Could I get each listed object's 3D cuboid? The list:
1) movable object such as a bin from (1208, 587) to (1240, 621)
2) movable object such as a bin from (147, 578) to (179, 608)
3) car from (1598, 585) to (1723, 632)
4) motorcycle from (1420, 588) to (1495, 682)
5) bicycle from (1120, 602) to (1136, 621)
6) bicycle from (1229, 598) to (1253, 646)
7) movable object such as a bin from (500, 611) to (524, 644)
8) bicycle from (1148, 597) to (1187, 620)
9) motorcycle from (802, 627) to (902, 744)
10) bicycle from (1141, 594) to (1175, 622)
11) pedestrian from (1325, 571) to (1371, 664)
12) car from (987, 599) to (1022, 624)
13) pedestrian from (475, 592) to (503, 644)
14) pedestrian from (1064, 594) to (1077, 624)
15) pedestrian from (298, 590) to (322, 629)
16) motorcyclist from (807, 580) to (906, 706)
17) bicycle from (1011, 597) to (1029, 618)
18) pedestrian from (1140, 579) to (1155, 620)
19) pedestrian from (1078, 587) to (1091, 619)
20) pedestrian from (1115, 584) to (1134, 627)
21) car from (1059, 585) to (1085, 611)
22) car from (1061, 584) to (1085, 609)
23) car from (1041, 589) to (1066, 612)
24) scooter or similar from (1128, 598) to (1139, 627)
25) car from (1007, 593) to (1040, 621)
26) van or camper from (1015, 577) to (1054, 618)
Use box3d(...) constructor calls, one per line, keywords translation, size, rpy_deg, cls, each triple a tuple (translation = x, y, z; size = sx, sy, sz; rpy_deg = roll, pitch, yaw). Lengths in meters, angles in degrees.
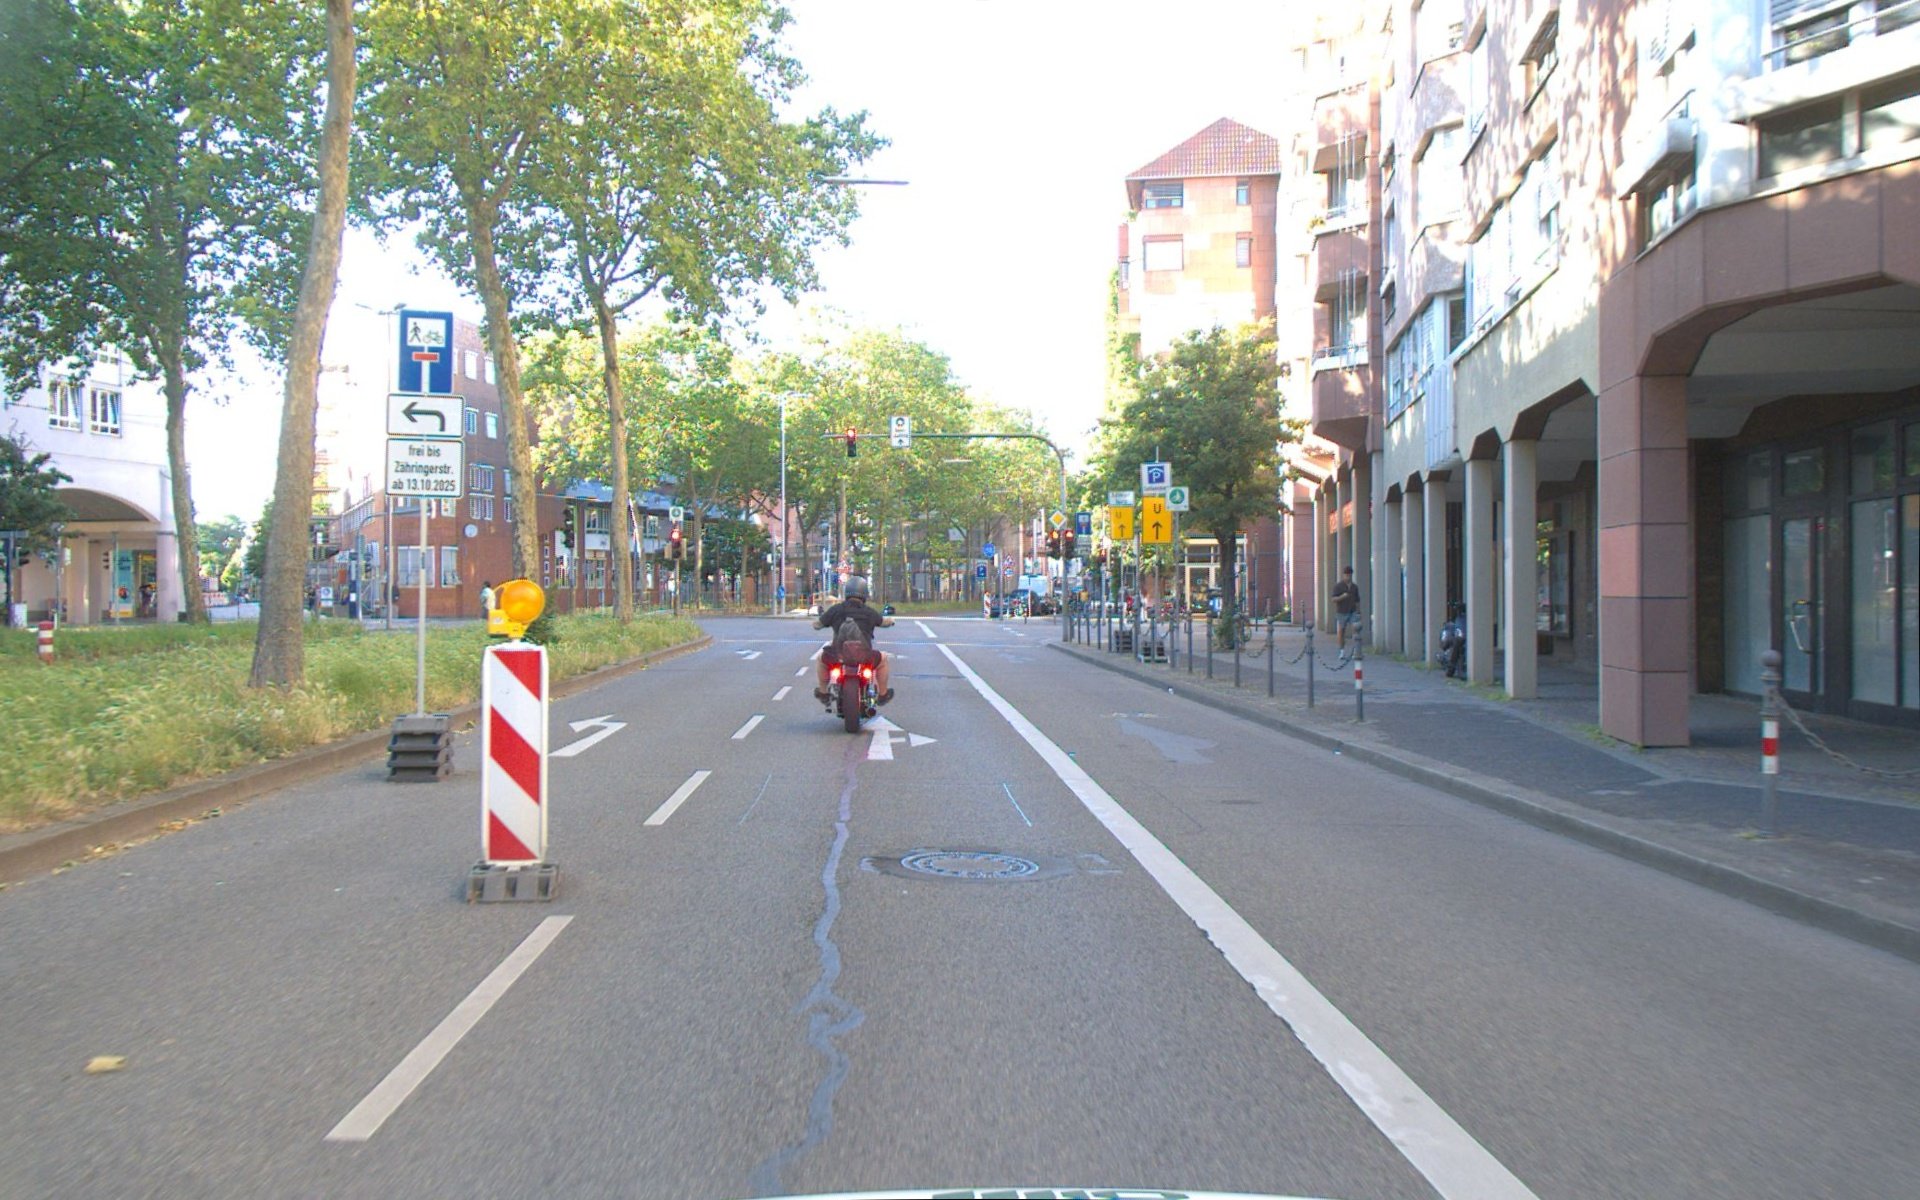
box3d(translation=(11.646, 0.173, 72.938), size=(1.380, 1.508, 0.872), rpy_deg=(0, 0, 9), cls="movable object such as a bin")
box3d(translation=(-64.389, -0.568, 133.707), size=(1.895, 2.351, 2.775), rpy_deg=(-1, 0, -17), cls="movable object such as a bin")
box3d(translation=(27.139, 0.320, 64.163), size=(4.096, 1.752, 1.803), rpy_deg=(0, 0, 6), cls="car")
box3d(translation=(7.649, 0.508, 25.512), size=(0.478, 1.396, 2.090), rpy_deg=(0, 0, -2), cls="motorcycle")
box3d(translation=(8.507, 0.594, 83.868), size=(0.721, 0.956, 1.753), rpy_deg=(0, 0, 2), cls="bicycle")
box3d(translation=(7.552, 0.577, 44.342), size=(0.608, 1.247, 1.928), rpy_deg=(0, 0, 10), cls="bicycle")
box3d(translation=(-13.228, 0.799, 48.837), size=(0.499, 0.970, 0.540), rpy_deg=(0, 0, 11), cls="movable object such as a bin")
box3d(translation=(9.873, 0.420, 78.657), size=(1.712, 1.071, 0.739), rpy_deg=(0, 0, 25), cls="bicycle")
box3d(translation=(-1.128, 0.873, 17.589), size=(0.997, 1.116, 2.006), rpy_deg=(0, 0, -3), cls="motorcycle")
box3d(translation=(9.040, 0.378, 75.626), size=(1.534, 1.248, 0.578), rpy_deg=(0, 0, 4), cls="bicycle")
box3d(translation=(7.493, 0.333, 31.933), size=(0.764, 1.769, 0.837), rpy_deg=(0, 0, 6), cls="pedestrian")
box3d(translation=(2.472, 0.595, 91.430), size=(1.586, 1.325, 4.315), rpy_deg=(0, 0, 6), cls="car")
box3d(translation=(-13.844, 0.528, 48.659), size=(0.605, 1.530, 0.535), rpy_deg=(0, 0, 11), cls="pedestrian")
box3d(translation=(6.035, 0.478, 90.329), size=(0.631, 1.606, 0.748), rpy_deg=(0, 0, 1), cls="pedestrian")
box3d(translation=(-32.412, 0.470, 82.535), size=(0.837, 1.902, 0.752), rpy_deg=(-1, 0, 6), cls="pedestrian")
box3d(translation=(-1.093, 0.442, 17.590), size=(0.991, 1.285, 0.773), rpy_deg=(2, 0, -3), cls="motorcyclist")
box3d(translation=(3.057, 0.385, 84.407), size=(0.722, 1.071, 1.751), rpy_deg=(1, 0, -3), cls="bicycle")
box3d(translation=(7.741, -0.018, 68.364), size=(0.450, 1.702, 0.679), rpy_deg=(0, 0, -8), cls="pedestrian")
box3d(translation=(6.766, 0.165, 90.082), size=(0.686, 1.764, 0.768), rpy_deg=(0, 0, 1), cls="pedestrian")
box3d(translation=(6.812, 0.225, 68.415), size=(0.769, 1.794, 0.610), rpy_deg=(0, 0, 6), cls="pedestrian")
box3d(translation=(8.929, -0.153, 132.028), size=(1.796, 2.049, 4.391), rpy_deg=(0, 0, 7), cls="car")
box3d(translation=(9.417, -0.293, 137.538), size=(1.796, 2.049, 4.391), rpy_deg=(0, 0, 7), cls="car")
box3d(translation=(6.839, 0.038, 120.845), size=(1.586, 1.638, 3.777), rpy_deg=(0, 0, 6), cls="car")
box3d(translation=(7.177, 0.512, 68.354), size=(0.386, 1.178, 1.250), rpy_deg=(0, 0, 4), cls="scooter or similar")
box3d(translation=(3.925, 0.414, 101.335), size=(1.586, 1.647, 4.489), rpy_deg=(0, 0, 7), cls="car")
box3d(translation=(4.902, -0.165, 107.827), size=(2.005, 2.585, 5.777), rpy_deg=(0, 0, 8), cls="van or camper")
